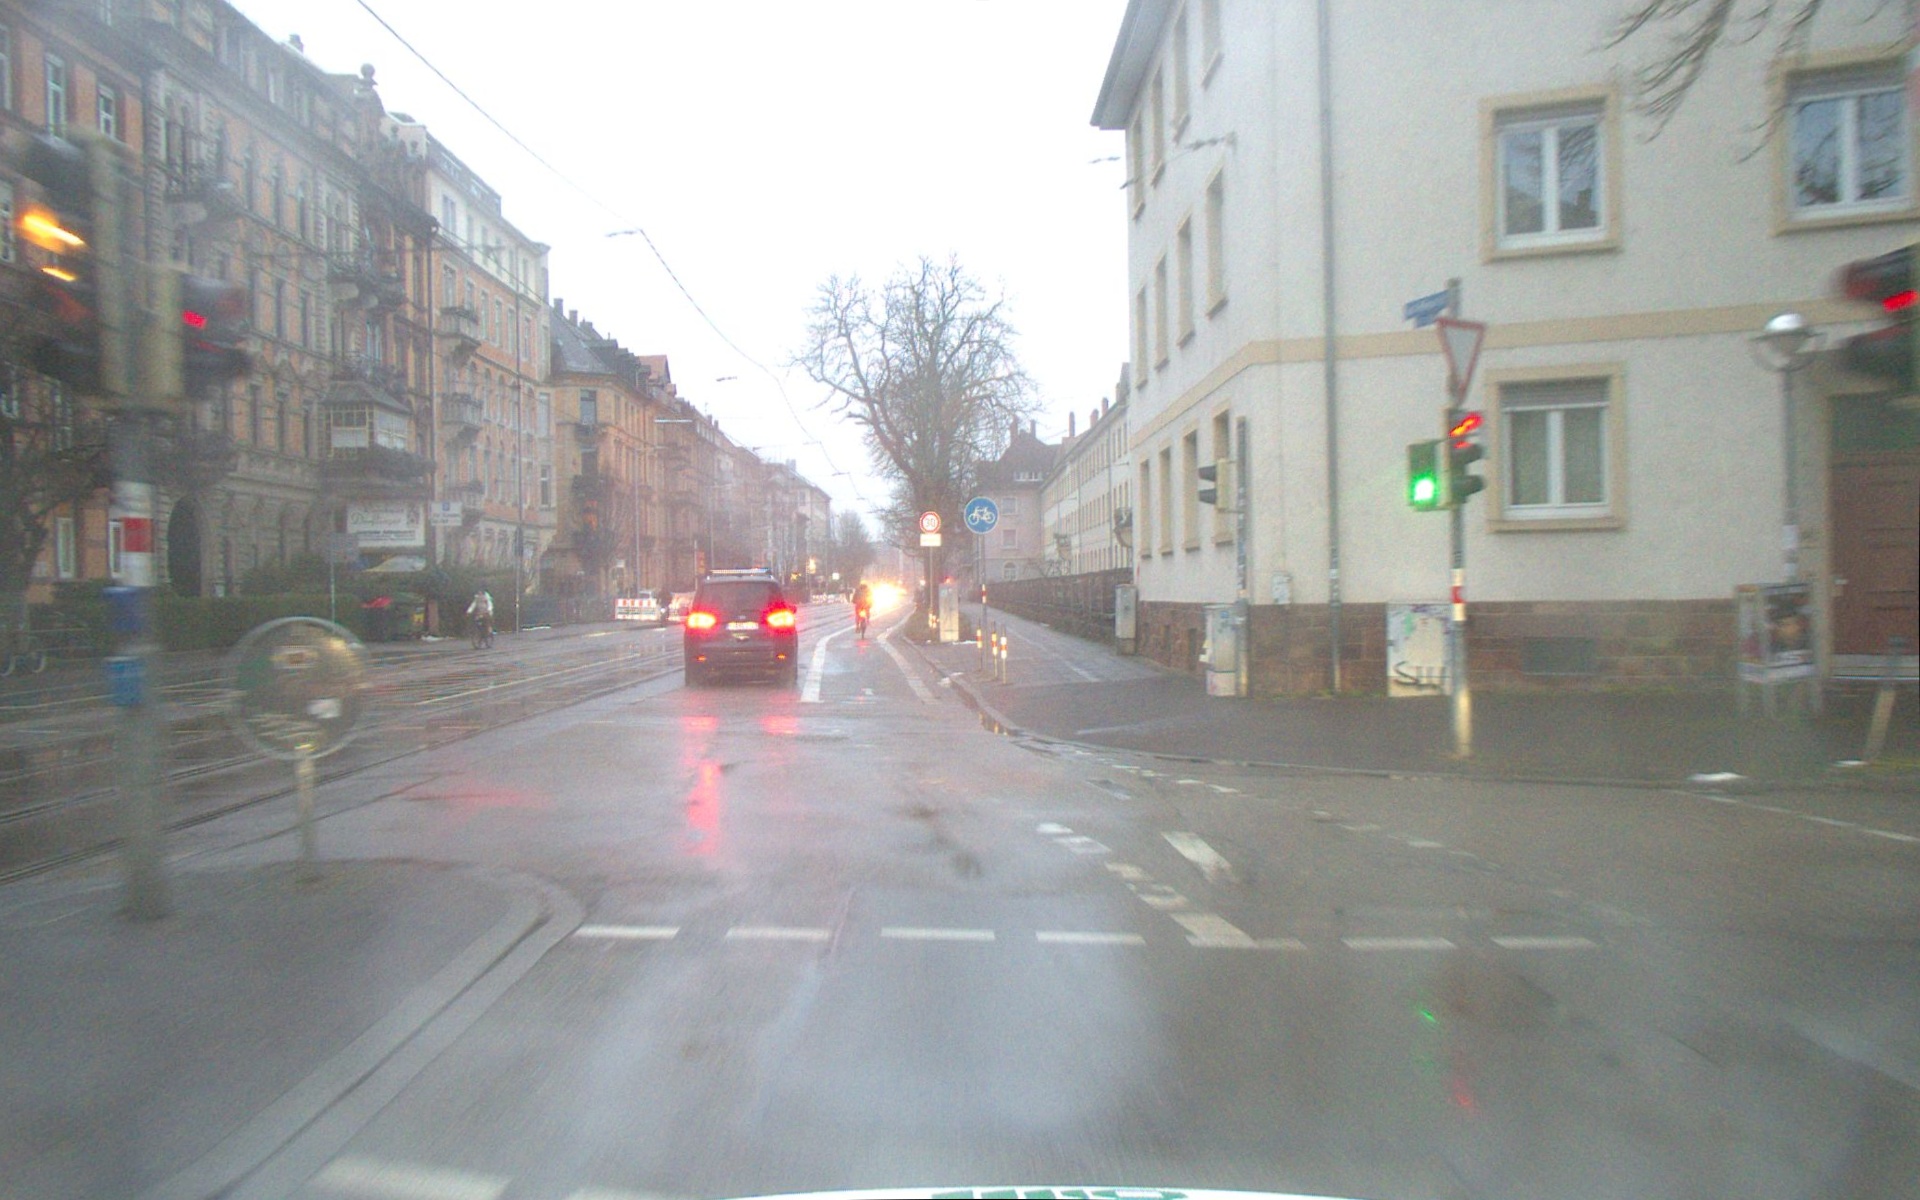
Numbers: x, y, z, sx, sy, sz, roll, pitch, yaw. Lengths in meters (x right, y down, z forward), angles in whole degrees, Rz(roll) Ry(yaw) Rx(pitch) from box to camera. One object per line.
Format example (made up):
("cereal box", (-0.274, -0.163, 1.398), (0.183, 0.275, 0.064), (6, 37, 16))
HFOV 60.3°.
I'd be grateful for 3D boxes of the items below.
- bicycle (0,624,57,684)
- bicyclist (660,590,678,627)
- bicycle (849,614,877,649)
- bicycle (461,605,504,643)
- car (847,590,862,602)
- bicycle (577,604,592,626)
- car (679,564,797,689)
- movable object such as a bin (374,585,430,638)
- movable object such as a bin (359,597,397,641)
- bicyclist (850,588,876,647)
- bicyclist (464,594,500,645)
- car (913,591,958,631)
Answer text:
("bicycle", (-17.453, 0.990, 30.635), (0.407, 1.024, 1.849), (-1, 0, 0))
("bicyclist", (-13.188, 0.393, 74.881), (0.669, 1.644, 0.765), (-1, 0, 0))
("bicycle", (-2.910, 0.939, 49.587), (0.716, 1.024, 1.764), (-1, 0, 0))
("bicycle", (-13.371, 0.650, 46.354), (0.667, 1.024, 1.803), (-1, 0, 0))
("car", (-14.862, -0.584, 233.731), (1.884, 1.750, 3.999), (-1, 0, -1))
("bicycle", (-16.749, 0.670, 73.835), (0.258, 0.931, 1.685), (5, 0, -1))
("car", (-3.710, 0.398, 27.894), (1.768, 1.903, 4.012), (2, 0, -7))
("movable object such as a bin", (-17.189, 0.352, 50.945), (1.218, 1.613, 1.308), (0, 0, 4))
("movable object such as a bin", (-17.635, 0.569, 50.127), (0.877, 1.315, 0.746), (0, 0, -3))
("bicyclist", (-2.912, 0.514, 49.704), (0.715, 1.767, 0.765), (-1, 0, 0))
("bicyclist", (-13.371, 0.537, 46.311), (0.690, 1.388, 0.944), (1, 0, 1))
("car", (-0.999, 0.411, 67.006), (1.749, 1.536, 3.986), (-1, 0, -1))
